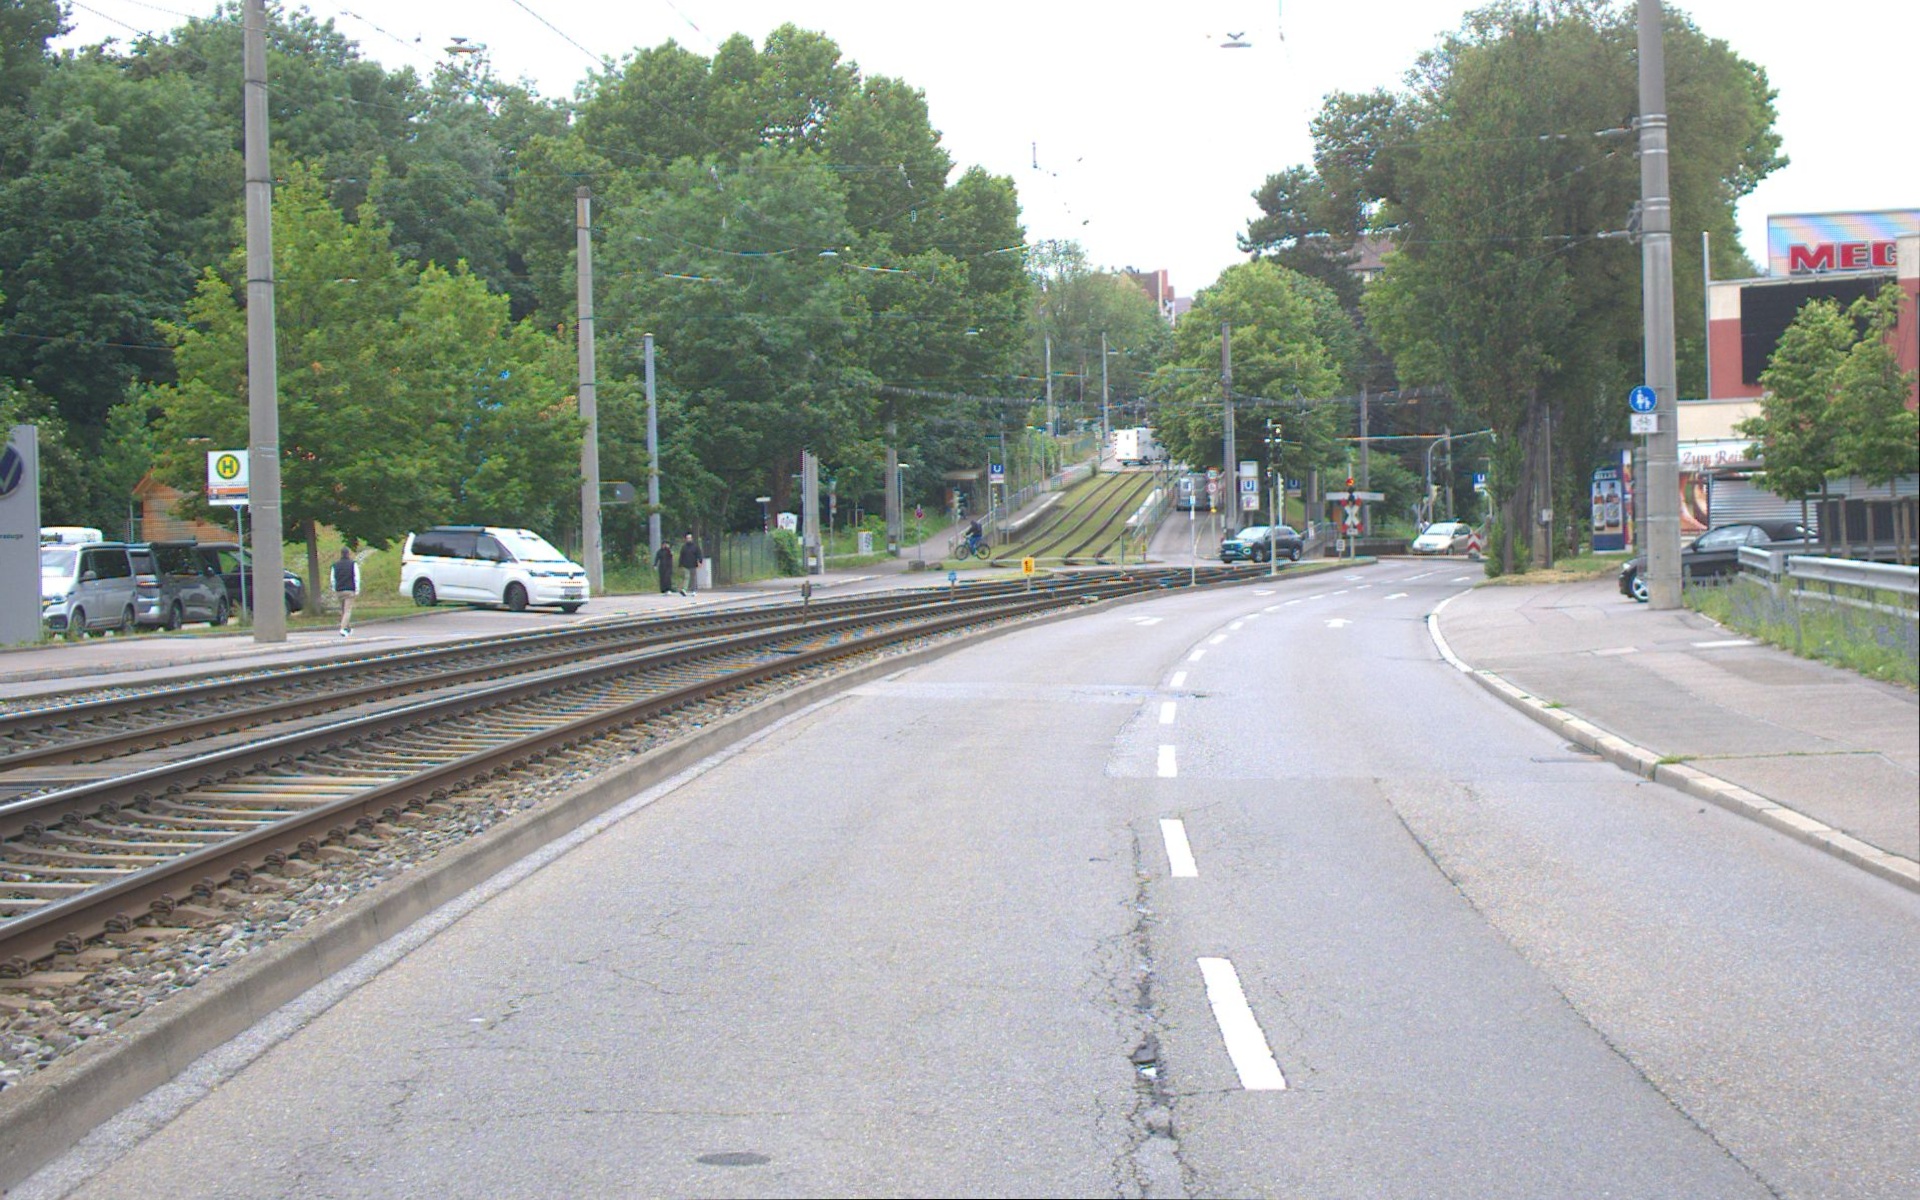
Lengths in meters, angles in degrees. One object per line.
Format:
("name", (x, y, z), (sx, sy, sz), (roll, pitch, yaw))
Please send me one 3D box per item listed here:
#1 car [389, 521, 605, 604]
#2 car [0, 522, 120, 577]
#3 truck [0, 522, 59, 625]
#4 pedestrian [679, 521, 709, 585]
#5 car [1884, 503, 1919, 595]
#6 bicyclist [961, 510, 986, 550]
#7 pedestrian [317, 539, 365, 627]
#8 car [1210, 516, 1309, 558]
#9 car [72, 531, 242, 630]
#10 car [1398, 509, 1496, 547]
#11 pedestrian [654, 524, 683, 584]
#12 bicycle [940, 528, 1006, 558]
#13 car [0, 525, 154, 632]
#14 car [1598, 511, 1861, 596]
("car", (-11.048, -0.914, 81.870), (5.067, 1.881, 2.161), (2, 1, 38))
("car", (-34.205, -1.922, 130.046), (1.998, 2.007, 4.394), (0, 1, 38))
("truck", (-25.897, -0.643, 88.261), (5.065, 2.579, 2.464), (-1, 1, 32))
("pedestrian", (-7.579, -1.336, 97.998), (0.676, 1.807, 0.855), (1, 1, 10))
("car", (18.386, -0.954, 58.777), (4.505, 1.543, 2.161), (-2, 0, -18))
("bicyclist", (0.625, -3.276, 161.397), (1.048, 1.843, 0.823), (-1, 1, 5))
("pedestrian", (-11.826, -0.325, 65.700), (0.718, 1.650, 1.042), (1, 1, -1))
("car", (12.532, -2.623, 143.542), (4.244, 1.527, 1.691), (1, -4, -44))
("car", (-17.266, -0.454, 74.167), (1.994, 2.007, 5.129), (-1, 1, 5))
("car", (21.971, -3.216, 155.043), (4.242, 1.527, 1.896), (1, -2, -35))
("pedestrian", (-8.320, -1.319, 98.097), (0.628, 1.707, 0.855), (1, 1, 10))
("bicycle", (0.612, -2.688, 161.428), (2.987, 1.339, 0.826), (-1, 1, 7))
("car", (-17.781, -0.451, 68.204), (1.994, 2.007, 4.918), (-1, 1, 5))
("car", (13.778, -0.822, 61.651), (4.228, 1.438, 1.760), (0, 1, 36))
